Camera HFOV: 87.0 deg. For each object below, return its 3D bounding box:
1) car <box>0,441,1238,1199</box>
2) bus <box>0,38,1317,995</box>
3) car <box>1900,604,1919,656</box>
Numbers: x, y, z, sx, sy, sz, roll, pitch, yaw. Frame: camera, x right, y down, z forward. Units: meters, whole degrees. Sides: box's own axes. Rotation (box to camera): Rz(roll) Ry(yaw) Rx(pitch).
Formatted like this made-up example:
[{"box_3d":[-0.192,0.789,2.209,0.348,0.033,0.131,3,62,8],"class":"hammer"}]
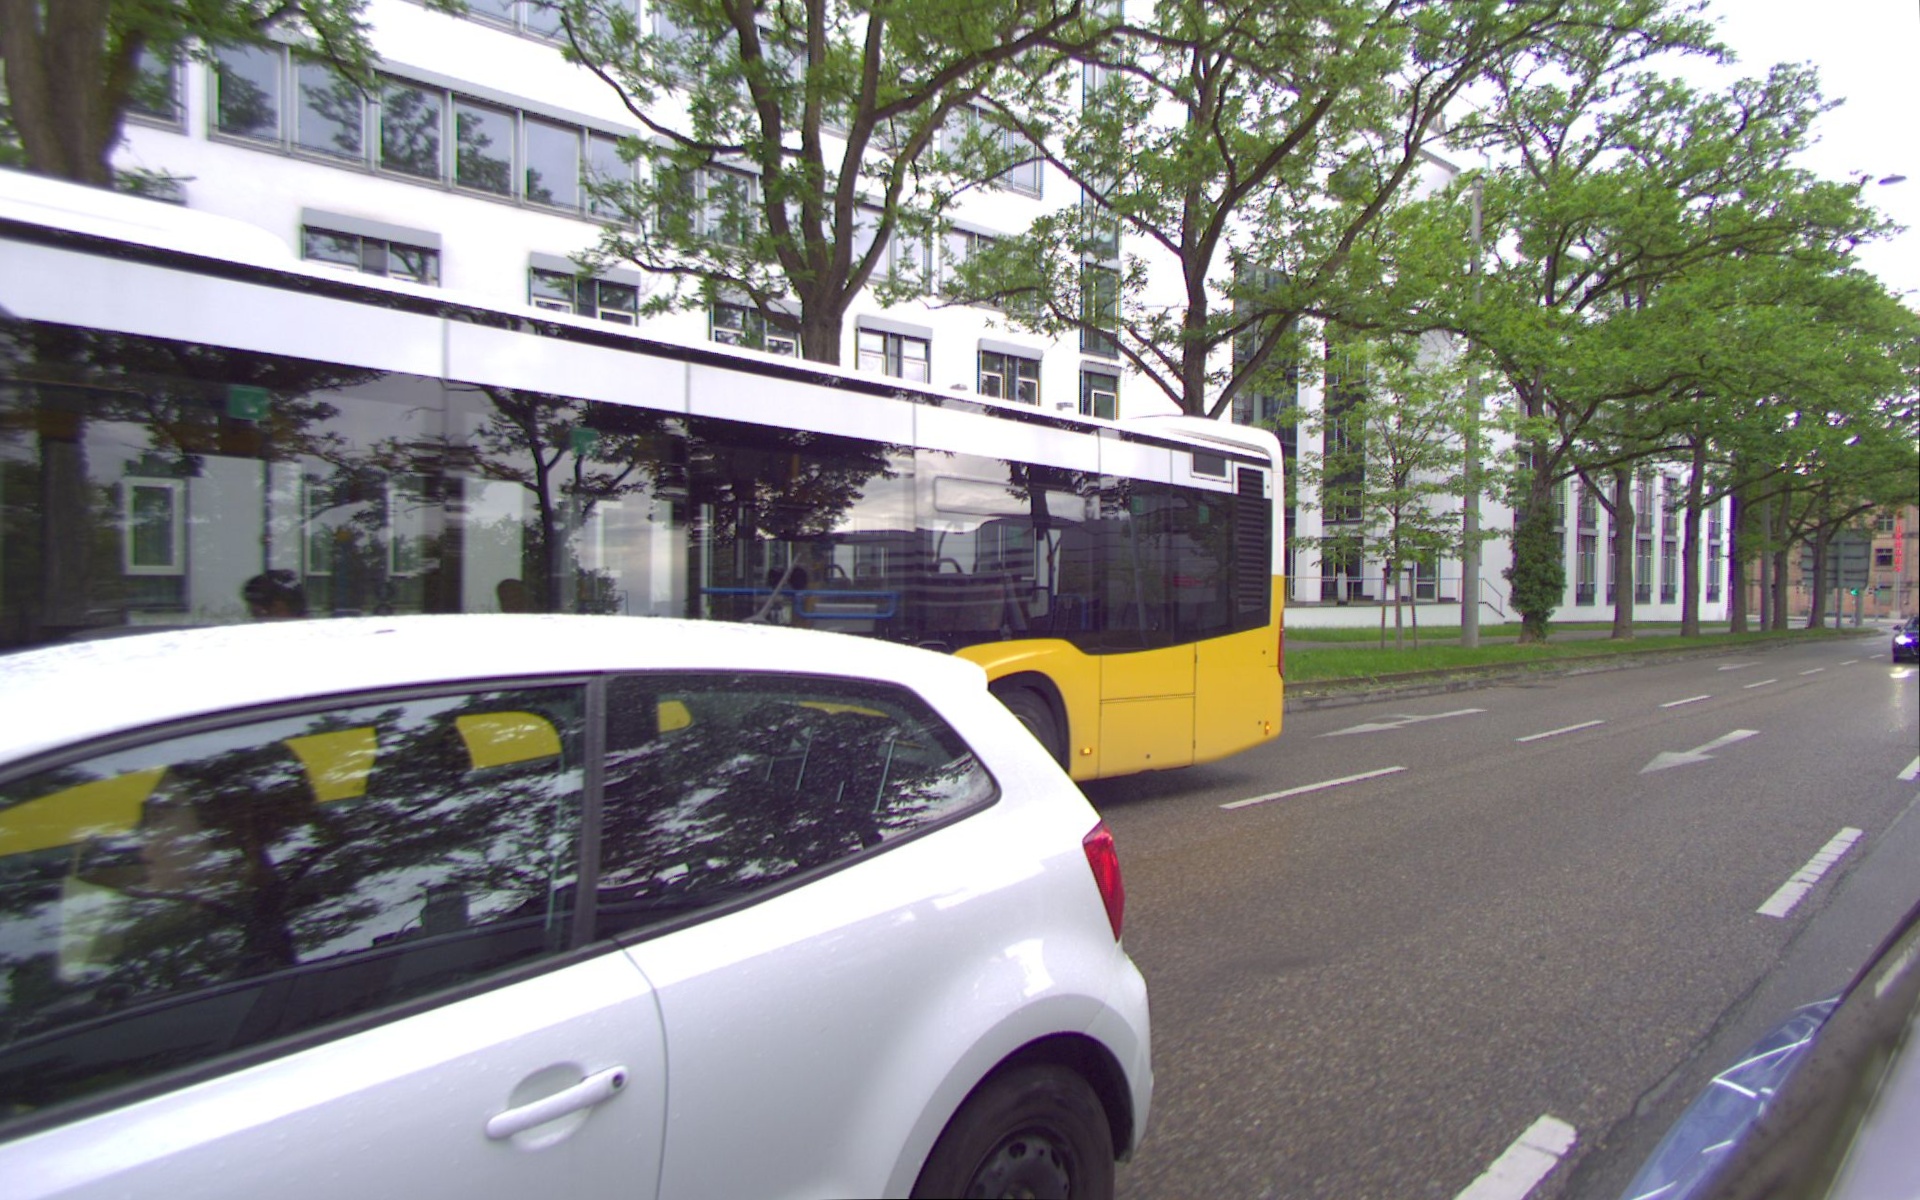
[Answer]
[{"box_3d":[-1.373,0.583,1.684,3.745,1.450,1.743,-1,0,-41],"class":"car"},{"box_3d":[-2.294,-0.254,5.961,11.931,3.192,2.731,1,-1,-41],"class":"bus"},{"box_3d":[28.120,0.819,28.550,4.256,1.371,1.876,-1,0,-41],"class":"car"}]
